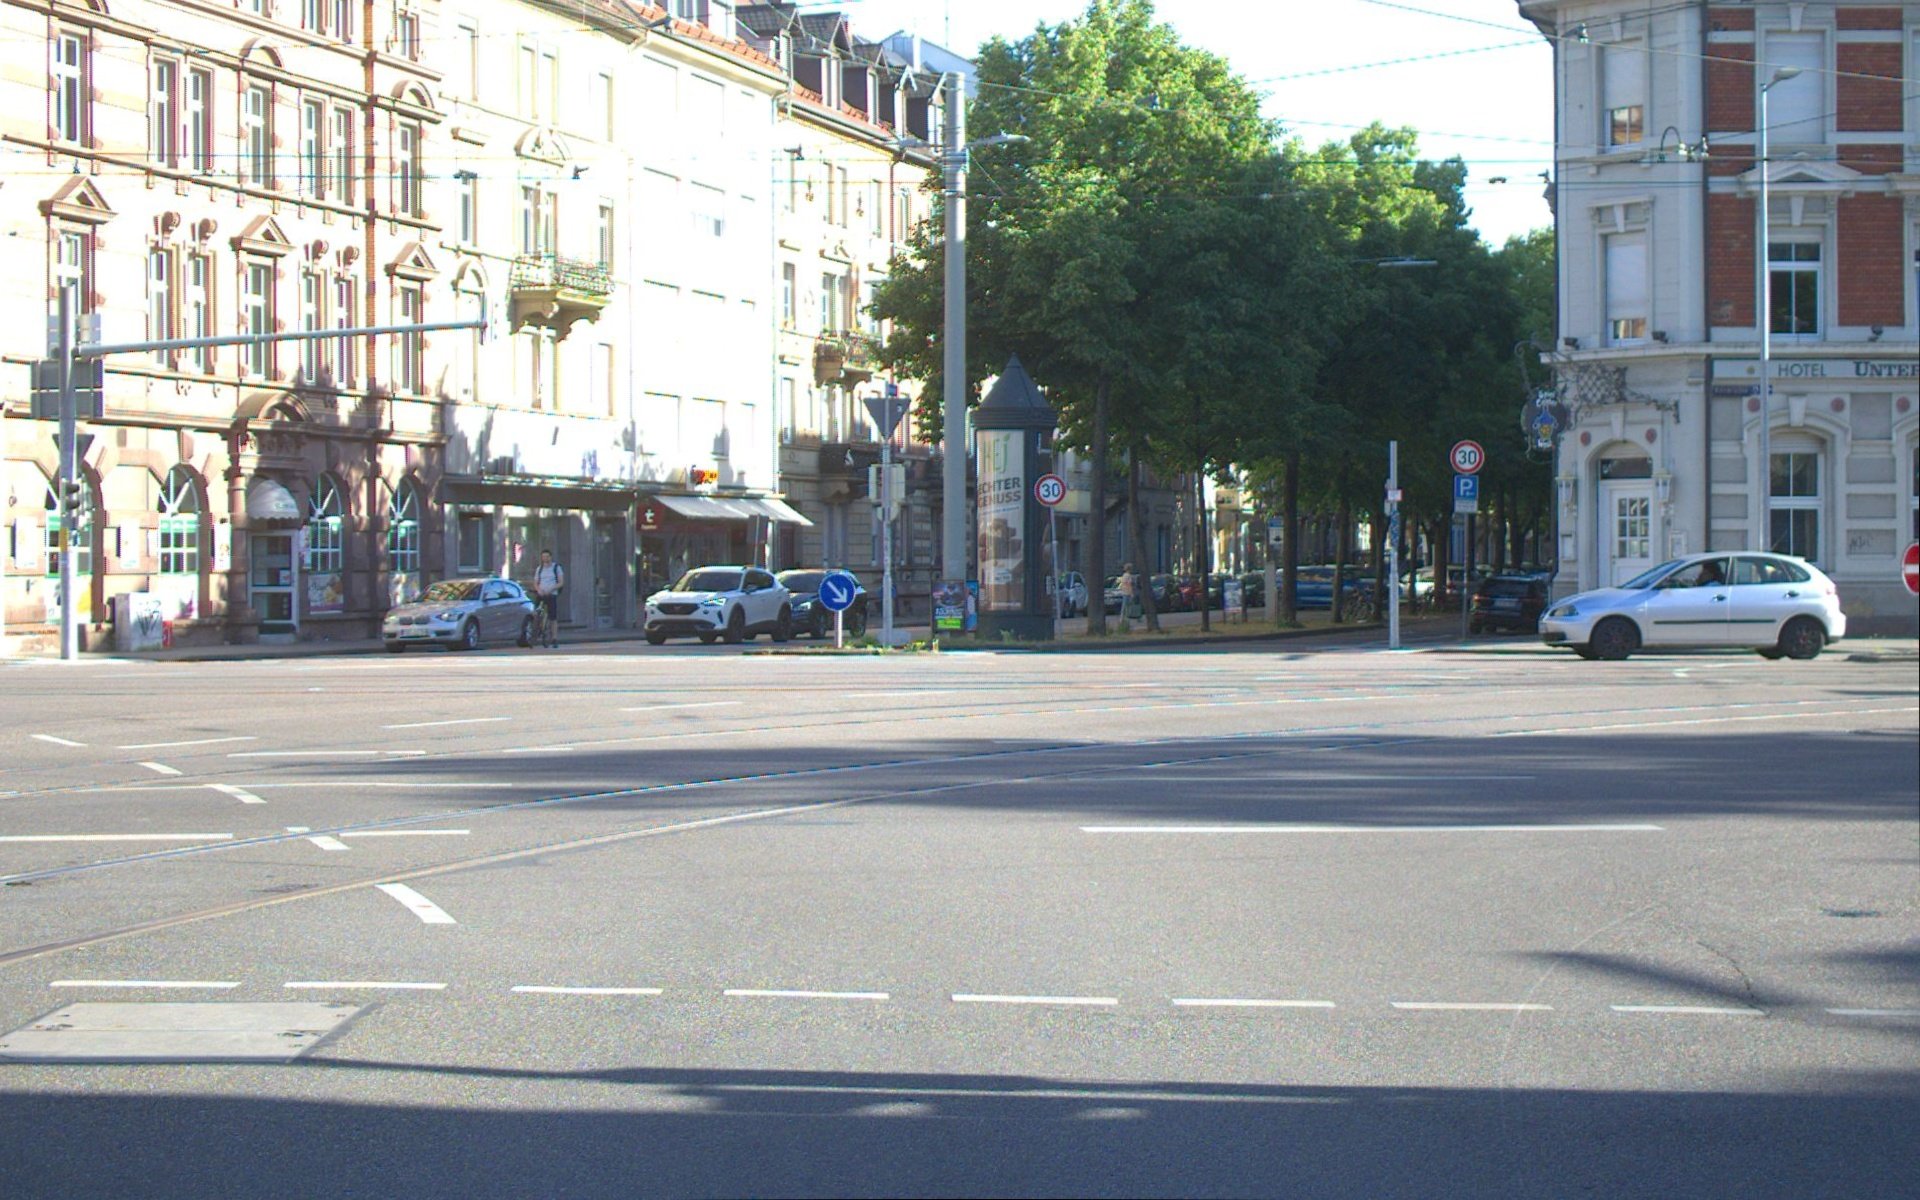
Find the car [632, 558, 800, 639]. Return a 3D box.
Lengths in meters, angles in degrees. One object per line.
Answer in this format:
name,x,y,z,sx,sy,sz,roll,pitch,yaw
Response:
car,-4.753,-0.053,67.485,1.995,1.511,4.166,0,1,16

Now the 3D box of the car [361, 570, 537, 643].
car,-9.929,0.102,67.058,1.995,1.357,3.816,0,1,16

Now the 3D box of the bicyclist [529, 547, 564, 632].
bicyclist,-7.841,-0.202,65.208,0.489,1.596,0.666,0,1,10

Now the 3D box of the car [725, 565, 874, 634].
car,-3.400,-0.041,73.659,1.995,1.400,4.166,0,1,16

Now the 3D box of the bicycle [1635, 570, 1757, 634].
bicycle,12.269,0.023,57.358,1.953,1.050,0.715,0,1,10

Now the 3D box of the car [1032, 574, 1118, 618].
car,3.935,-0.150,116.875,1.995,1.400,4.166,0,1,16

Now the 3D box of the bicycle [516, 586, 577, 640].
bicycle,-7.849,0.232,65.315,0.655,0.997,1.664,1,1,12

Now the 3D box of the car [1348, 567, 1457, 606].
car,14.359,-0.430,111.482,3.435,1.235,1.576,0,1,11

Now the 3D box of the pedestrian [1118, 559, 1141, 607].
pedestrian,4.857,-0.483,98.402,0.547,1.380,0.625,0,1,16

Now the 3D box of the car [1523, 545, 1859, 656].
car,9.618,-0.012,45.459,4.027,1.418,1.886,0,1,0

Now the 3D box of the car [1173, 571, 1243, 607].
car,9.876,-0.449,136.619,1.995,1.400,4.166,0,1,16

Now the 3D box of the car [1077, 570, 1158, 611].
car,5.647,-0.339,122.594,1.995,1.400,4.166,0,1,16

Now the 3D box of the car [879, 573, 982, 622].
car,-0.847,-0.092,102.105,1.995,1.400,4.166,0,1,16

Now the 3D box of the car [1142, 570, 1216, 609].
car,8.399,-0.418,131.422,1.995,1.400,4.166,0,1,16

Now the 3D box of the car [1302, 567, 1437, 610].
car,12.573,-0.349,105.409,3.989,1.284,1.694,0,1,11

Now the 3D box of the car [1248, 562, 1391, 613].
car,10.444,-0.363,99.700,3.989,1.450,1.681,0,1,11

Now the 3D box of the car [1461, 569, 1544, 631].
car,13.045,-0.027,82.544,1.756,1.415,3.998,0,1,12
